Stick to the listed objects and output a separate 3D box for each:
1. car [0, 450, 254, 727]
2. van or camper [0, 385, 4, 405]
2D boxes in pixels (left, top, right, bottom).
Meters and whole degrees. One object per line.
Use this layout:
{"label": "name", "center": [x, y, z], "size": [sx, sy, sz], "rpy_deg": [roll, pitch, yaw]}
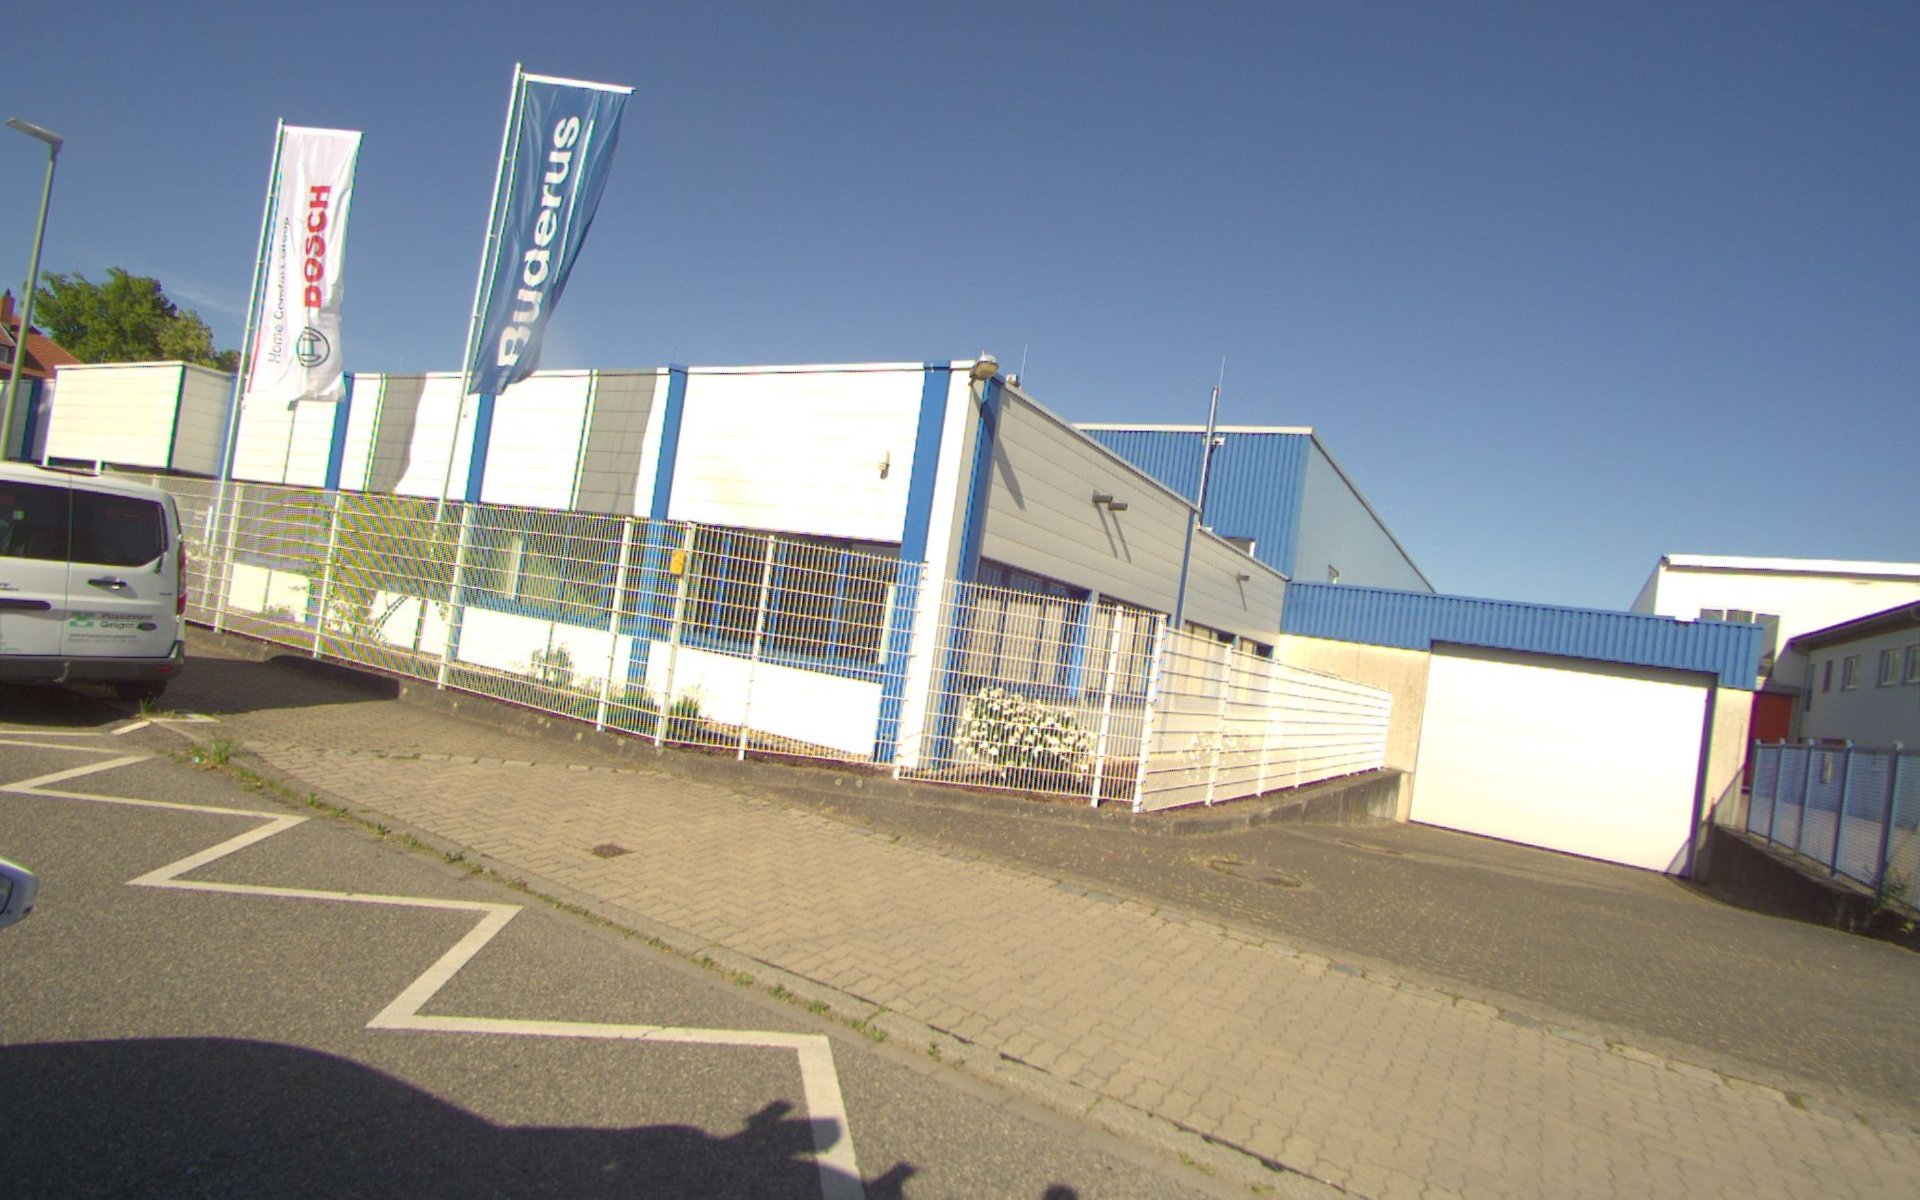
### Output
{"label": "car", "center": [-8.379, -0.265, 8.483], "size": [5.018, 1.816, 1.892], "rpy_deg": [7, -4, 31]}
{"label": "van or camper", "center": [-13.770, -1.408, 11.640], "size": [6.059, 2.788, 2.147], "rpy_deg": [6, -4, 32]}
